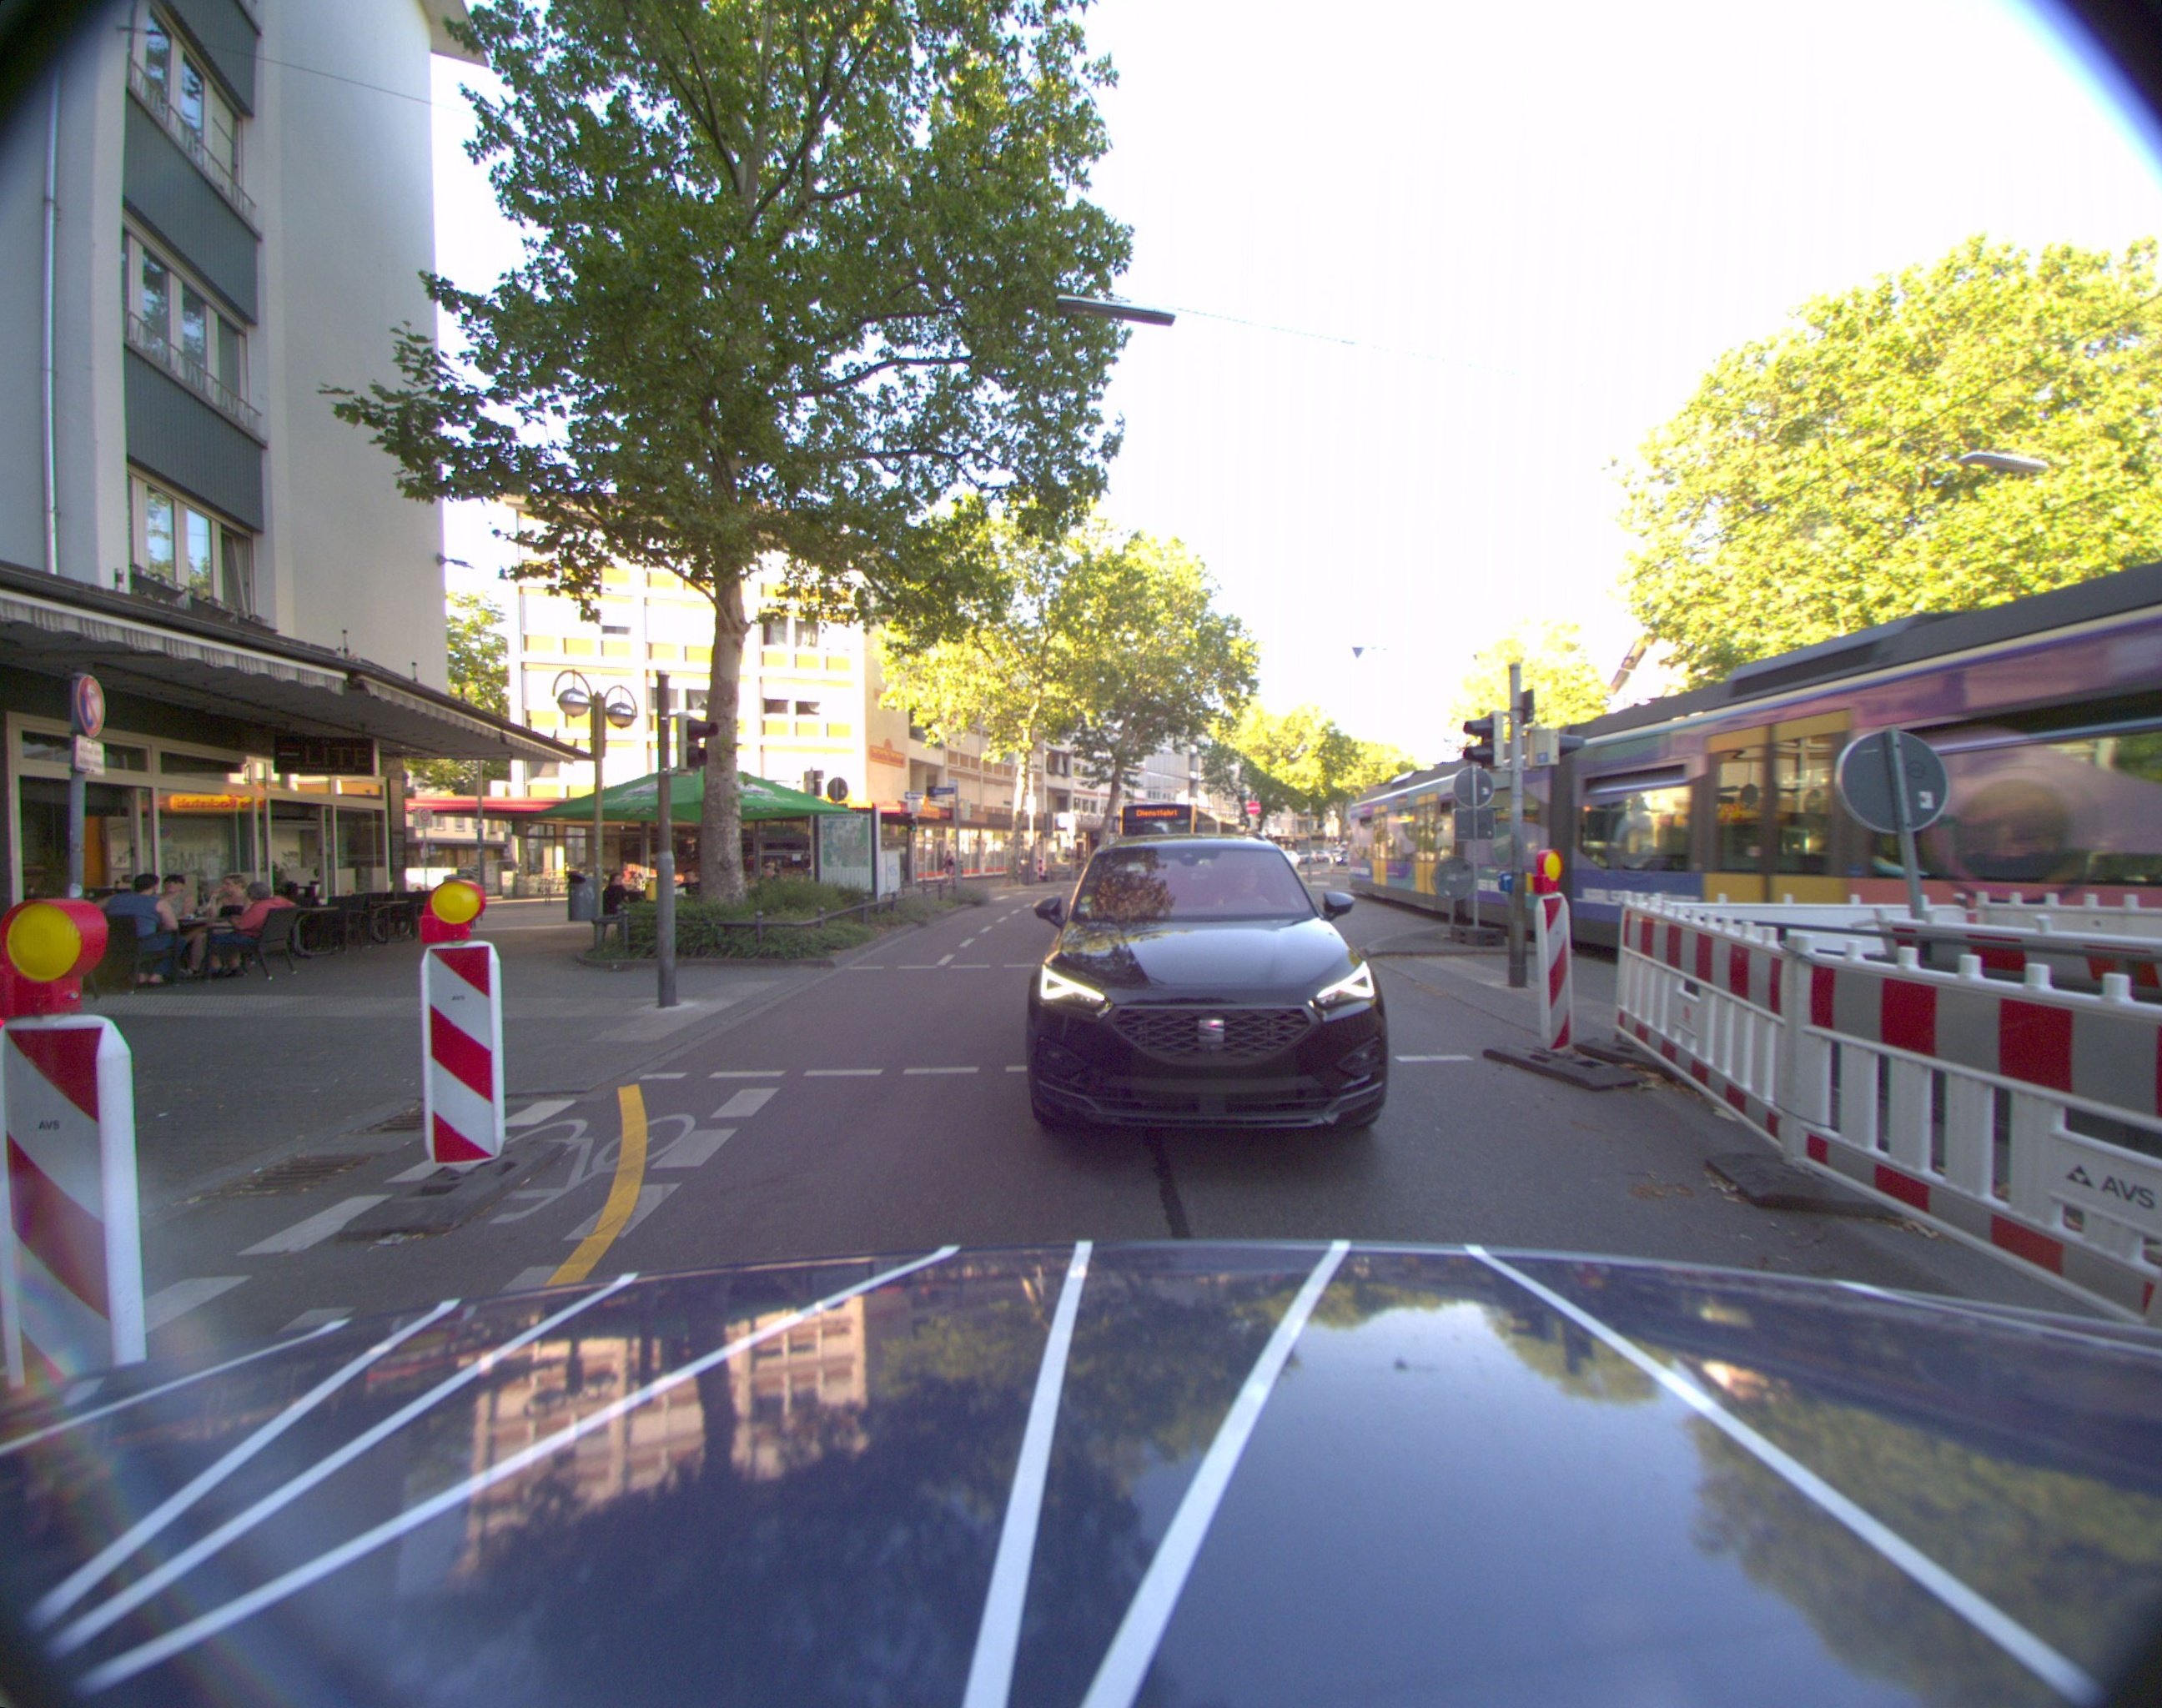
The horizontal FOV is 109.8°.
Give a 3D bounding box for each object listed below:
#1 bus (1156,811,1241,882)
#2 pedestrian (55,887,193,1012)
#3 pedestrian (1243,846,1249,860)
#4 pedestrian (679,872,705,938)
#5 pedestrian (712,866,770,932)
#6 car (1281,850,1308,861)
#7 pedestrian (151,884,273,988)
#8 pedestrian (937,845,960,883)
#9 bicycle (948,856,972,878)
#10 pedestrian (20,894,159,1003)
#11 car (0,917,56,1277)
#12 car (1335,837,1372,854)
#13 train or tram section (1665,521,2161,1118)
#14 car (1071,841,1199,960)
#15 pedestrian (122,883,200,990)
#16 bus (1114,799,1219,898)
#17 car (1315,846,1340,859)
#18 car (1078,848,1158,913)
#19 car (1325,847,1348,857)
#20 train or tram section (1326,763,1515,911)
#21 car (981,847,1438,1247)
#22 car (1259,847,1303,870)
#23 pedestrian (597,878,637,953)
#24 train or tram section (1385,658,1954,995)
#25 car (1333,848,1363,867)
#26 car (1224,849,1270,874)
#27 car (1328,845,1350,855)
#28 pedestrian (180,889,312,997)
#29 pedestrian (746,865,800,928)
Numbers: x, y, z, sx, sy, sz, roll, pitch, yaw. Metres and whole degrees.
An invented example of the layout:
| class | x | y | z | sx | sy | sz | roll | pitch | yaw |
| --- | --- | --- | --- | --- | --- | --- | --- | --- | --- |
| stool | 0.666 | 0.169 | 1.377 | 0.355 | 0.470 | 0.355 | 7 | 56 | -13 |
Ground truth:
| class | x | y | z | sx | sy | sz | roll | pitch | yaw |
| --- | --- | --- | --- | --- | --- | --- | --- | --- | --- |
| bus | 6.115 | -0.360 | 37.946 | 2.749 | 3.085 | 9.508 | 0 | 1 | 18 |
| pedestrian | -10.228 | 0.985 | 8.156 | 0.651 | 1.244 | 0.716 | 1 | 0 | -24 |
| pedestrian | 18.985 | -0.143 | 87.572 | 0.516 | 1.647 | 0.571 | 0 | 1 | 28 |
| pedestrian | -7.421 | 0.962 | 14.491 | 0.433 | 1.212 | 0.467 | 1 | 1 | -29 |
| pedestrian | -6.819 | 0.890 | 15.268 | 0.718 | 1.278 | 0.769 | -1 | 1 | 14 |
| car | 23.902 | 0.157 | 85.035 | 2.629 | 1.209 | 1.200 | -1 | 2 | -6 |
| pedestrian | -10.701 | 0.987 | 9.386 | 0.666 | 1.211 | 0.717 | 0 | 0 | -5 |
| pedestrian | -6.276 | 0.471 | 35.989 | 0.748 | 1.747 | 0.903 | 0 | 1 | 17 |
| bicycle | -6.683 | 0.703 | 42.040 | 0.528 | 1.136 | 1.976 | 0 | 1 | 15 |
| pedestrian | -11.095 | 1.027 | 8.530 | 0.718 | 1.123 | 0.649 | 1 | 0 | -24 |
| car | -5.157 | 0.993 | 1.433 | 1.623 | 1.457 | 3.604 | 2 | 0 | -2 |
| car | 40.611 | -1.298 | 113.132 | 4.868 | 2.362 | 1.878 | -1 | 2 | -10 |
| train or tram section | 7.747 | -0.202 | 2.889 | 2.843 | 3.467 | 10.335 | -1 | 1 | -2 |
| car | 0.960 | 0.645 | 12.795 | 1.743 | 1.630 | 4.300 | -2 | 0 | 6 |
| pedestrian | -11.252 | 0.987 | 9.299 | 0.519 | 1.236 | 0.553 | 0 | 0 | 34 |
| bus | 3.538 | -0.222 | 28.718 | 2.750 | 3.085 | 9.506 | 0 | 1 | 14 |
| car | 29.769 | -0.149 | 91.866 | 2.627 | 1.464 | 1.201 | -1 | 2 | 3 |
| car | 1.091 | 0.628 | 20.159 | 1.743 | 1.492 | 4.301 | -2 | 0 | 7 |
| car | 32.884 | -0.297 | 97.852 | 2.627 | 1.274 | 1.201 | -1 | 2 | 3 |
| train or tram section | 9.689 | -0.432 | 23.162 | 2.840 | 3.467 | 10.345 | -1 | 1 | 10 |
| car | 0.676 | 0.805 | 5.319 | 1.848 | 1.648 | 4.300 | -2 | 0 | 4 |
| car | 15.286 | 0.305 | 57.834 | 1.952 | 1.541 | 4.765 | 0 | 2 | 31 |
| pedestrian | -7.790 | 1.013 | 12.756 | 0.469 | 1.212 | 0.431 | -2 | 1 | -44 |
| train or tram section | 8.181 | -0.314 | 13.115 | 2.876 | 3.467 | 10.343 | -1 | 1 | 7 |
| car | 23.826 | 0.298 | 67.635 | 1.952 | 1.467 | 4.764 | 0 | 1 | 26 |
| car | 10.753 | 0.431 | 48.928 | 1.908 | 1.467 | 4.425 | 0 | 2 | 26 |
| car | 35.439 | -0.531 | 104.238 | 2.627 | 1.380 | 1.201 | -1 | 2 | 3 |
| pedestrian | -9.856 | 1.020 | 9.006 | 0.847 | 1.191 | 0.649 | 1 | 0 | -22 |
| pedestrian | -6.551 | 0.887 | 16.192 | 0.718 | 1.278 | 0.769 | -1 | 1 | 13 |
